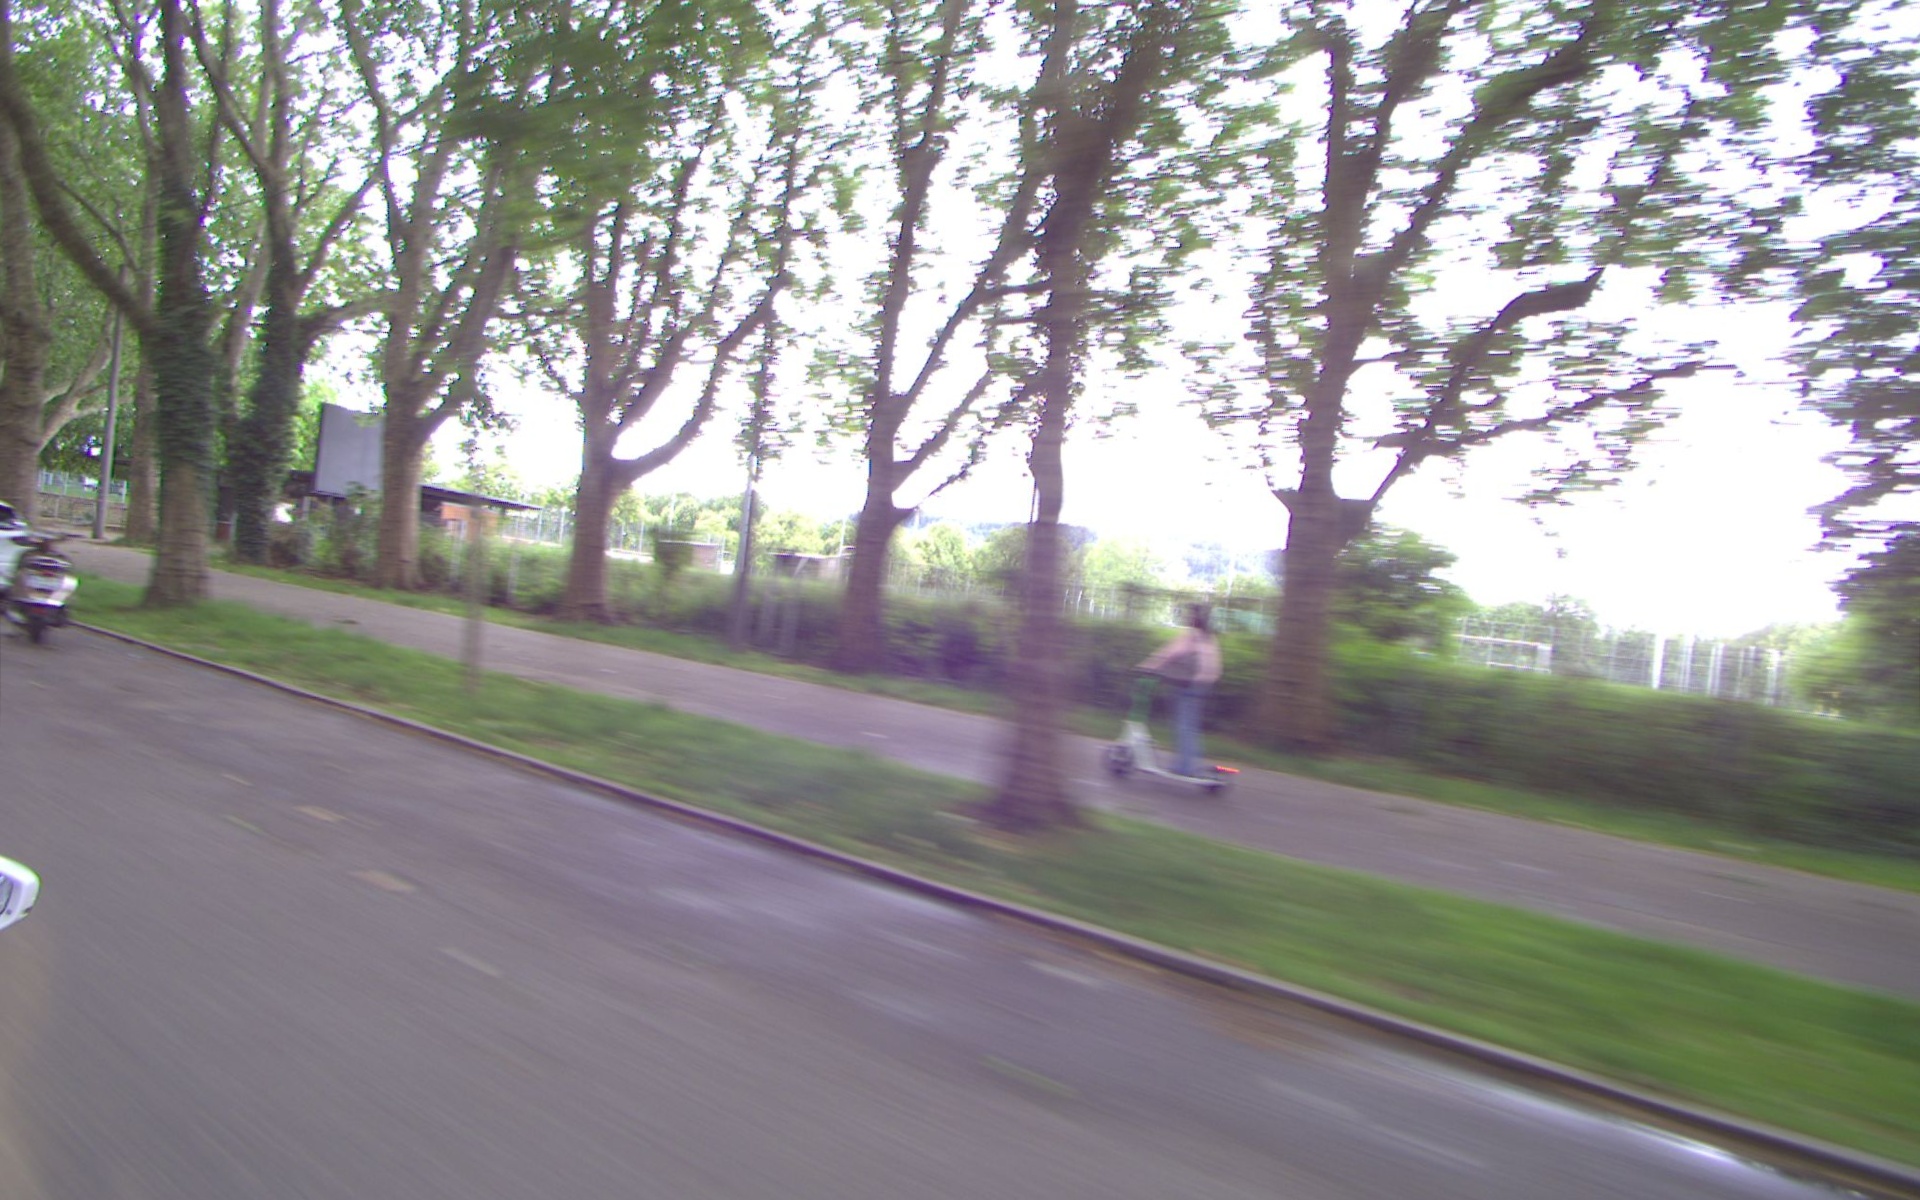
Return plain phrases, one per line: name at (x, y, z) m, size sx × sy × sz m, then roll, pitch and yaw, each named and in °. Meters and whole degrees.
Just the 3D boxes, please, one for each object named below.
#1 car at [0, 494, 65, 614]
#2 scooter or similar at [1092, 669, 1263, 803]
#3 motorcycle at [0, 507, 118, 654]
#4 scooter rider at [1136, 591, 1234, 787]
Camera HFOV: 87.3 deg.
car at (-13.831, -0.810, 13.295) m, size 4.053 × 1.456 × 1.738 m, roll 7°, pitch 0°, yaw 30°
scooter or similar at (2.161, 1.316, 10.046) m, size 1.442 × 1.052 × 0.680 m, roll 7°, pitch 3°, yaw 32°
motorcycle at (-9.625, -0.239, 10.602) m, size 1.963 × 1.348 × 0.711 m, roll 7°, pitch 0°, yaw 40°
scooter rider at (2.242, 0.864, 10.001) m, size 0.577 × 1.824 × 0.676 m, roll 7°, pitch 3°, yaw 31°
